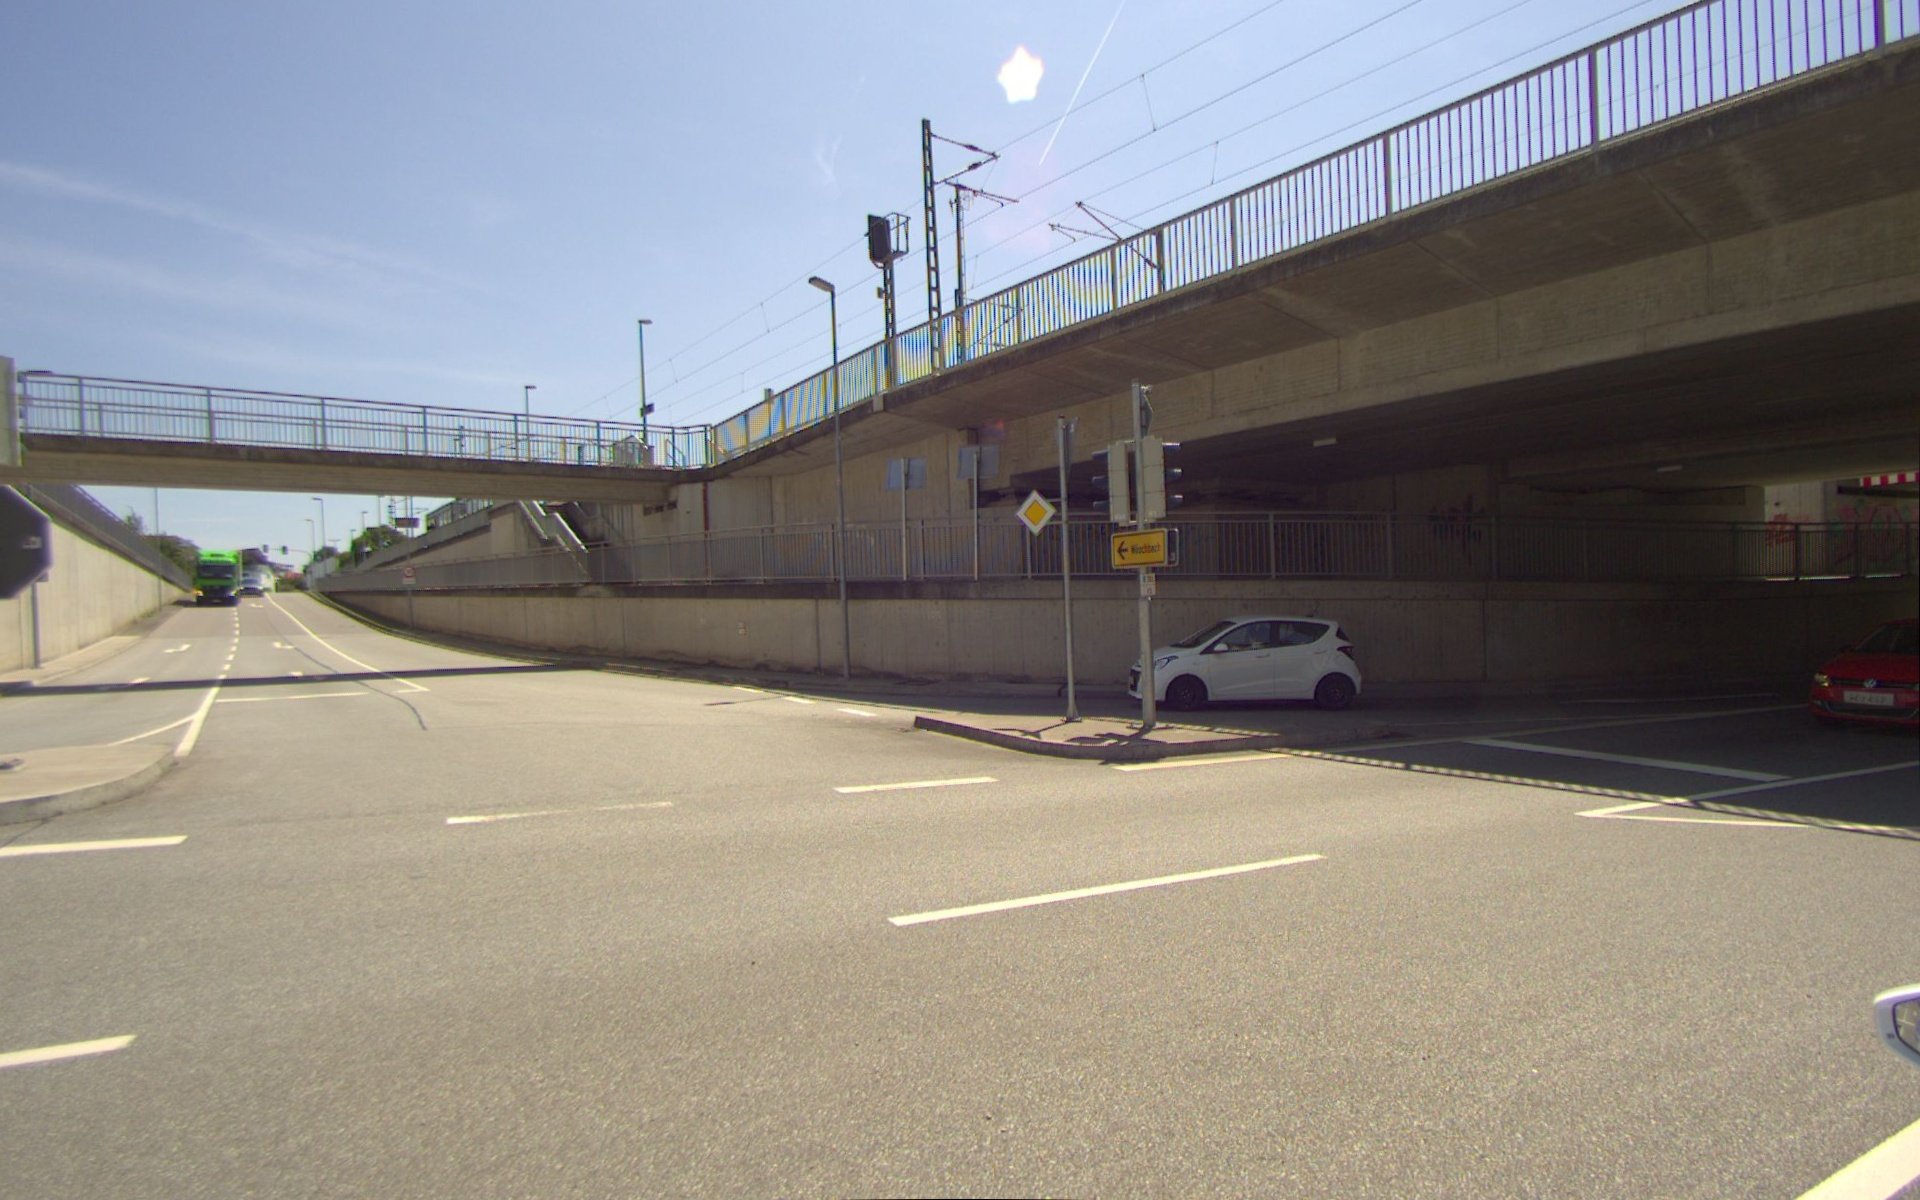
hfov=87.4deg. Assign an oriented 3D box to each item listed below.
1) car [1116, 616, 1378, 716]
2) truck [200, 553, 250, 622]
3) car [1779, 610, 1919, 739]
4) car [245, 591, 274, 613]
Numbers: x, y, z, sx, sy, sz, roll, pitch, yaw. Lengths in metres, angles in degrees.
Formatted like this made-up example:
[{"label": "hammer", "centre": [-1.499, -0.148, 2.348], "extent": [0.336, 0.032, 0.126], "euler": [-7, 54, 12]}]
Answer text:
[{"label": "car", "centre": [4.602, 1.047, 16.473], "extent": [3.758, 1.486, 1.786], "euler": [-1, -2, -3]}, {"label": "truck", "centre": [-55.526, -0.894, 76.086], "extent": [2.526, 4.865, 10.806], "euler": [-1, 1, -34]}, {"label": "car", "centre": [12.658, 0.881, 13.019], "extent": [3.773, 1.484, 1.738], "euler": [0, 0, -25]}, {"label": "car", "centre": [-62.390, 0.164, 89.489], "extent": [1.979, 1.929, 3.963], "euler": [-1, 1, -34]}]
